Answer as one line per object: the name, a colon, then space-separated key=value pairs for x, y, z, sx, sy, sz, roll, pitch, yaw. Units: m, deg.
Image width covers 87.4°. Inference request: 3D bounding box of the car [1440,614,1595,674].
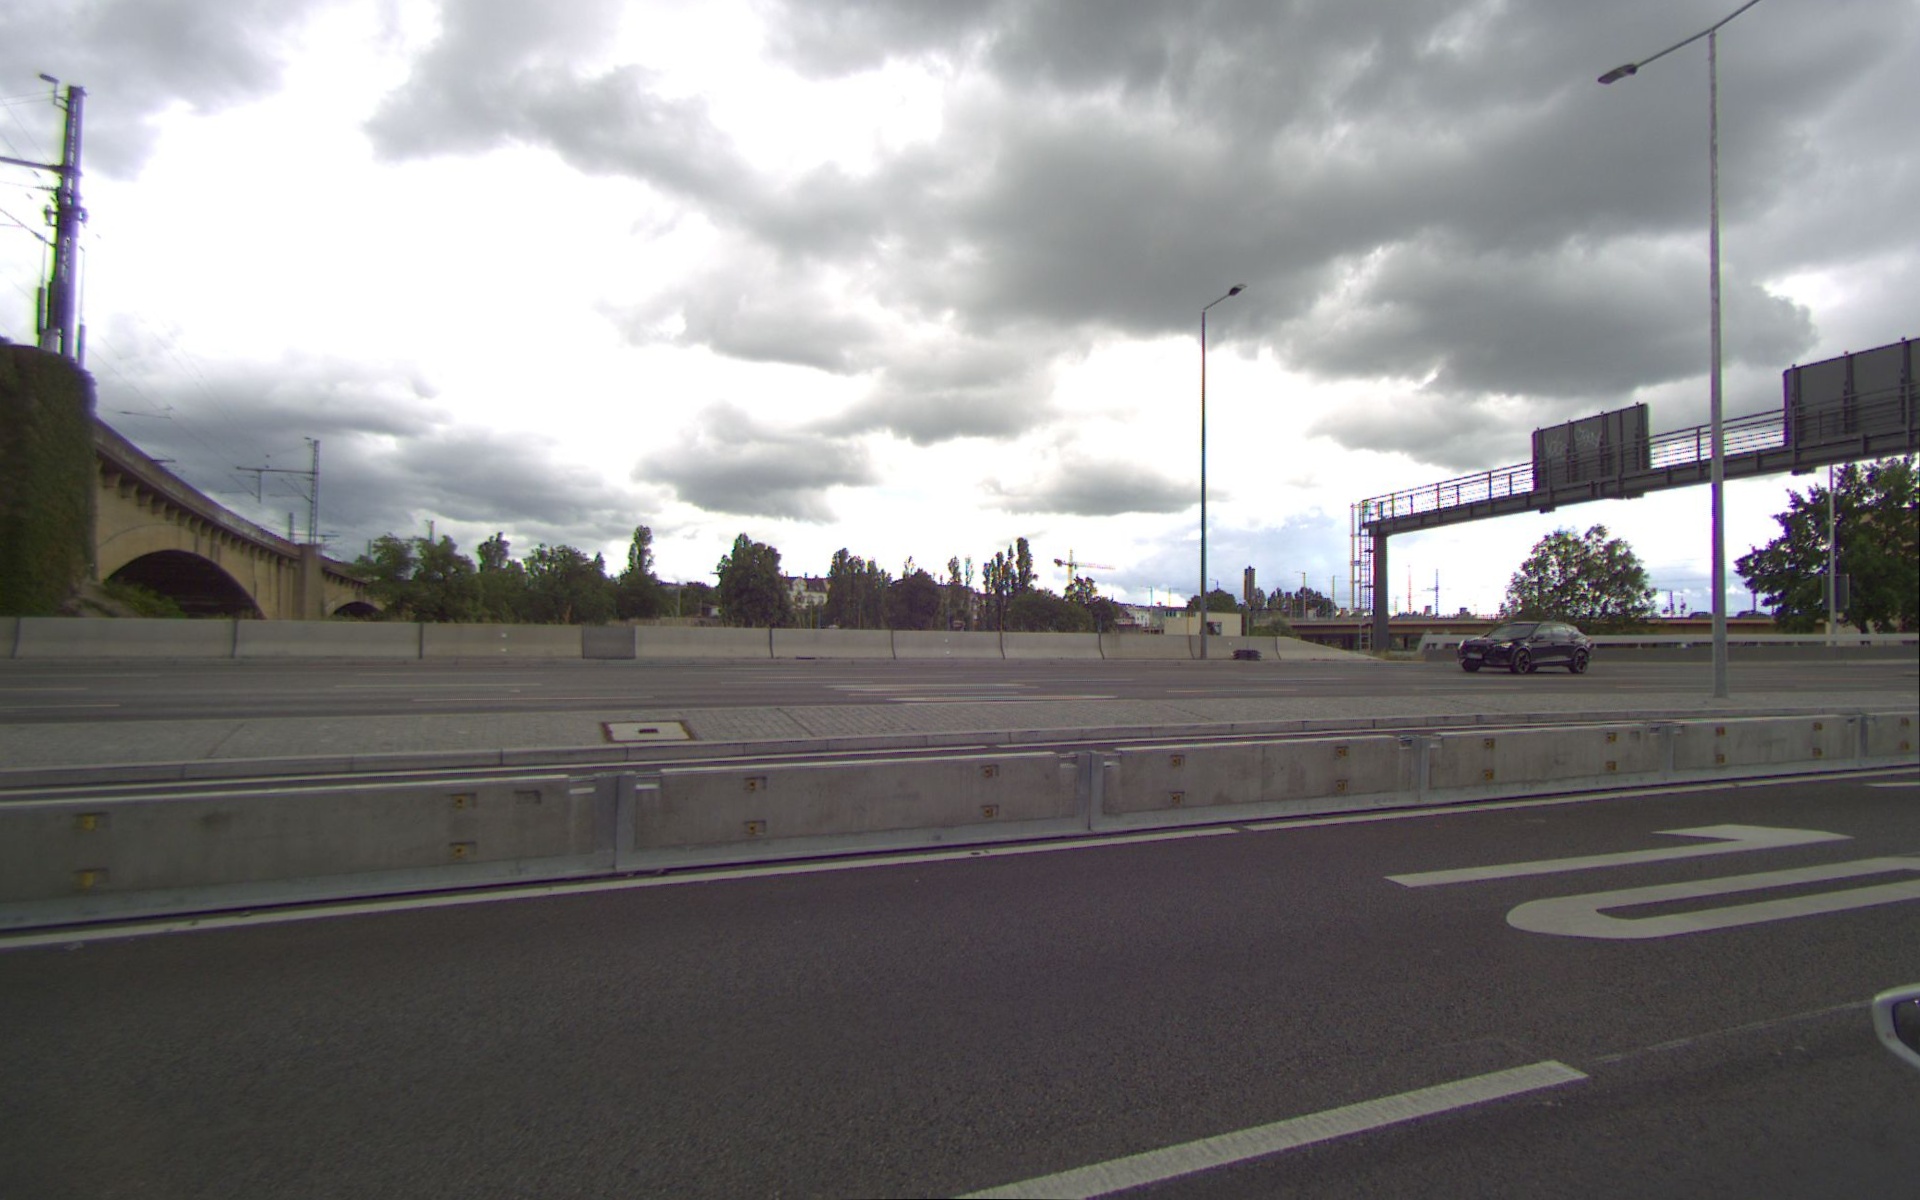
car: x=16.645 y=1.302 z=30.004 sx=4.079 sy=1.606 sz=1.988 roll=2 pitch=1 yaw=-24
